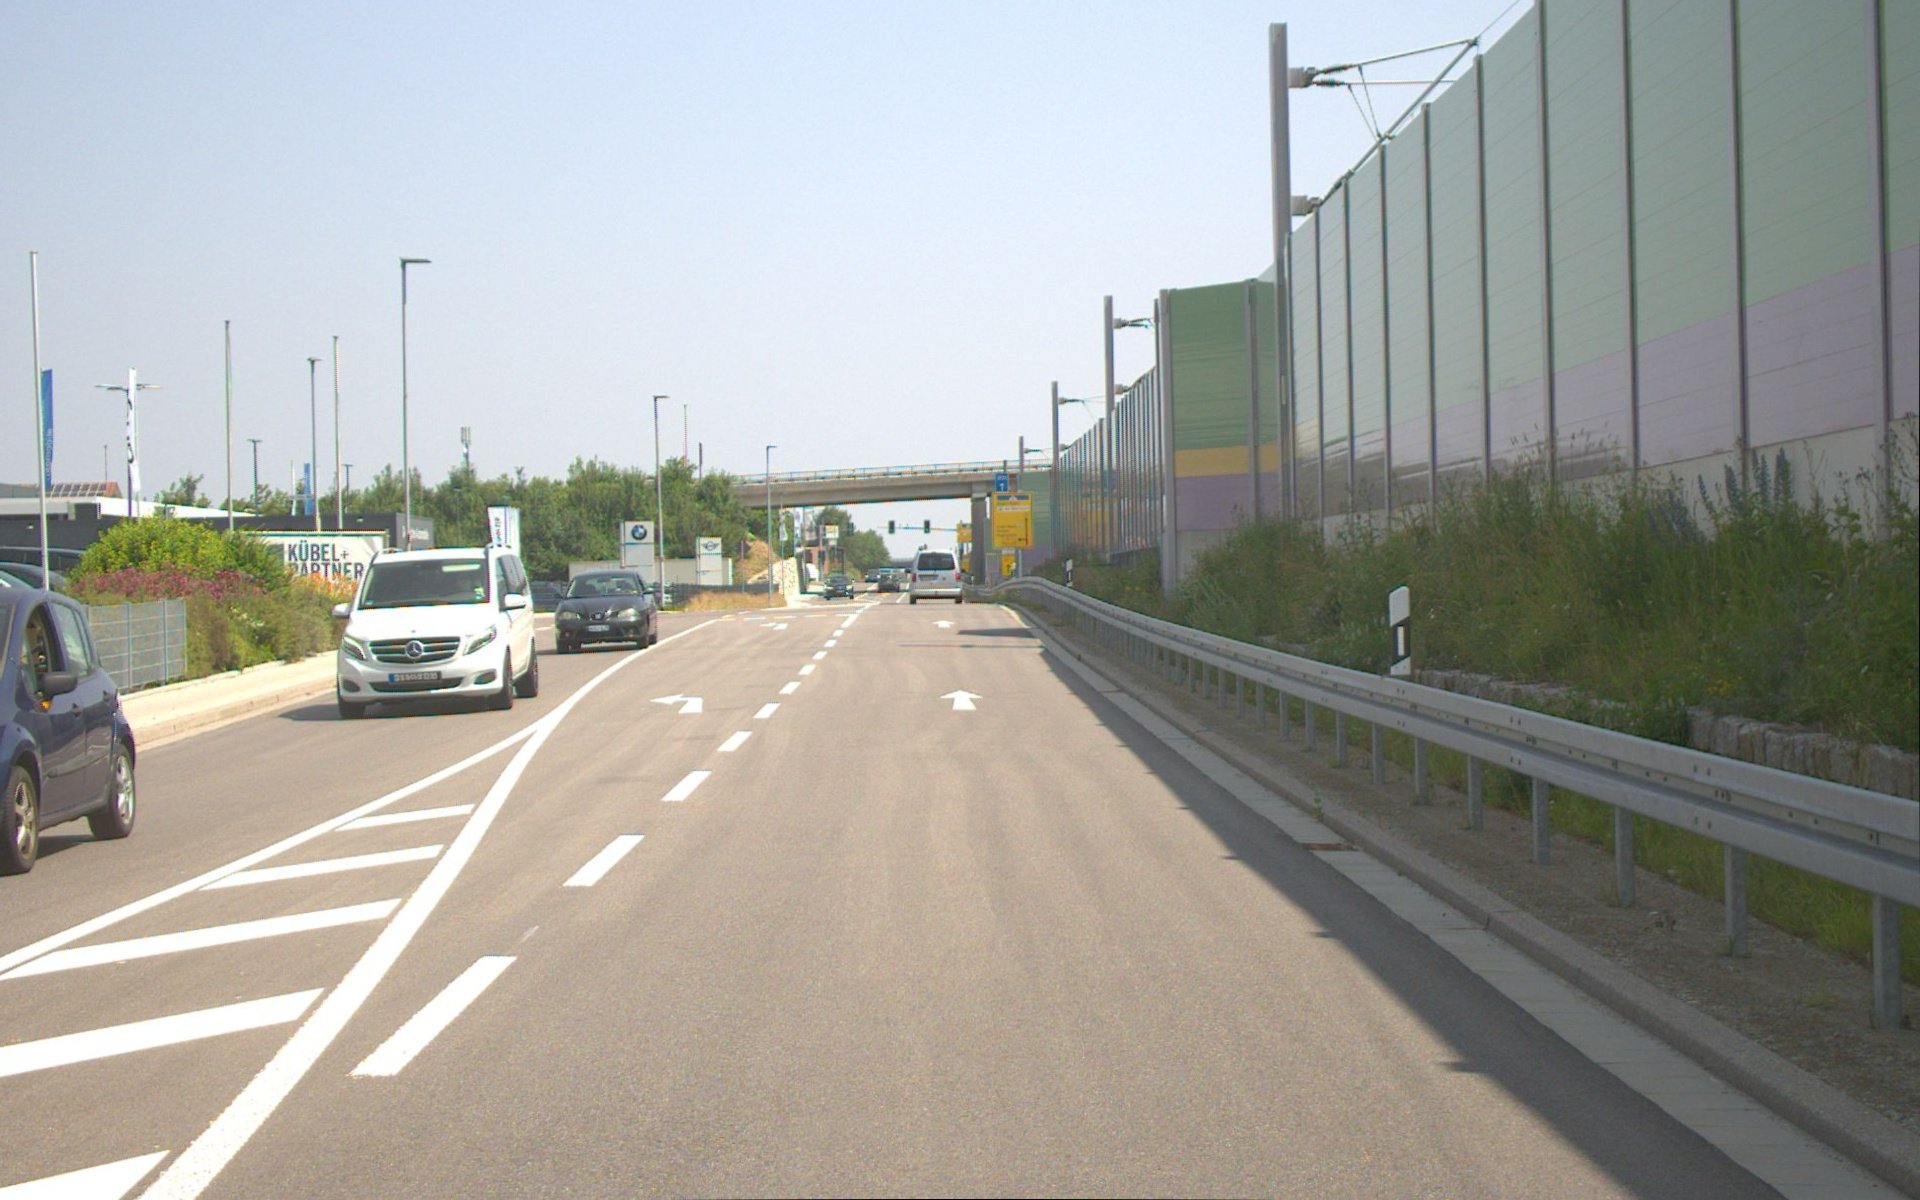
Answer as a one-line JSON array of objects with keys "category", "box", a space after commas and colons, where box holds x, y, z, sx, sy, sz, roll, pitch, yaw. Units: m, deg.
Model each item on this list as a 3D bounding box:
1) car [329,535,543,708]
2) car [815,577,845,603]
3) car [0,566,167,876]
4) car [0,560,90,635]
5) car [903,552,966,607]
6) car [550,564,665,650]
[{"category": "car", "box": [-6.169, 0.229, 41.021, 1.993, 1.867, 5.170, -2, 0, -3]}, {"category": "car", "box": [-8.825, -0.701, 233.205, 1.877, 1.667, 4.291, -1, 1, 0]}, {"category": "car", "box": [-5.837, 0.647, 19.622, 1.668, 1.595, 3.973, -3, 1, -1]}, {"category": "car", "box": [-17.123, -0.073, 59.998, 3.509, 1.250, 1.505, 2, 1, -2]}, {"category": "car", "box": [-0.833, -0.694, 114.780, 1.993, 1.751, 4.000, -1, 1, 1]}, {"category": "car", "box": [-6.342, 0.103, 62.200, 1.670, 1.418, 4.000, -3, 1, -1]}]
